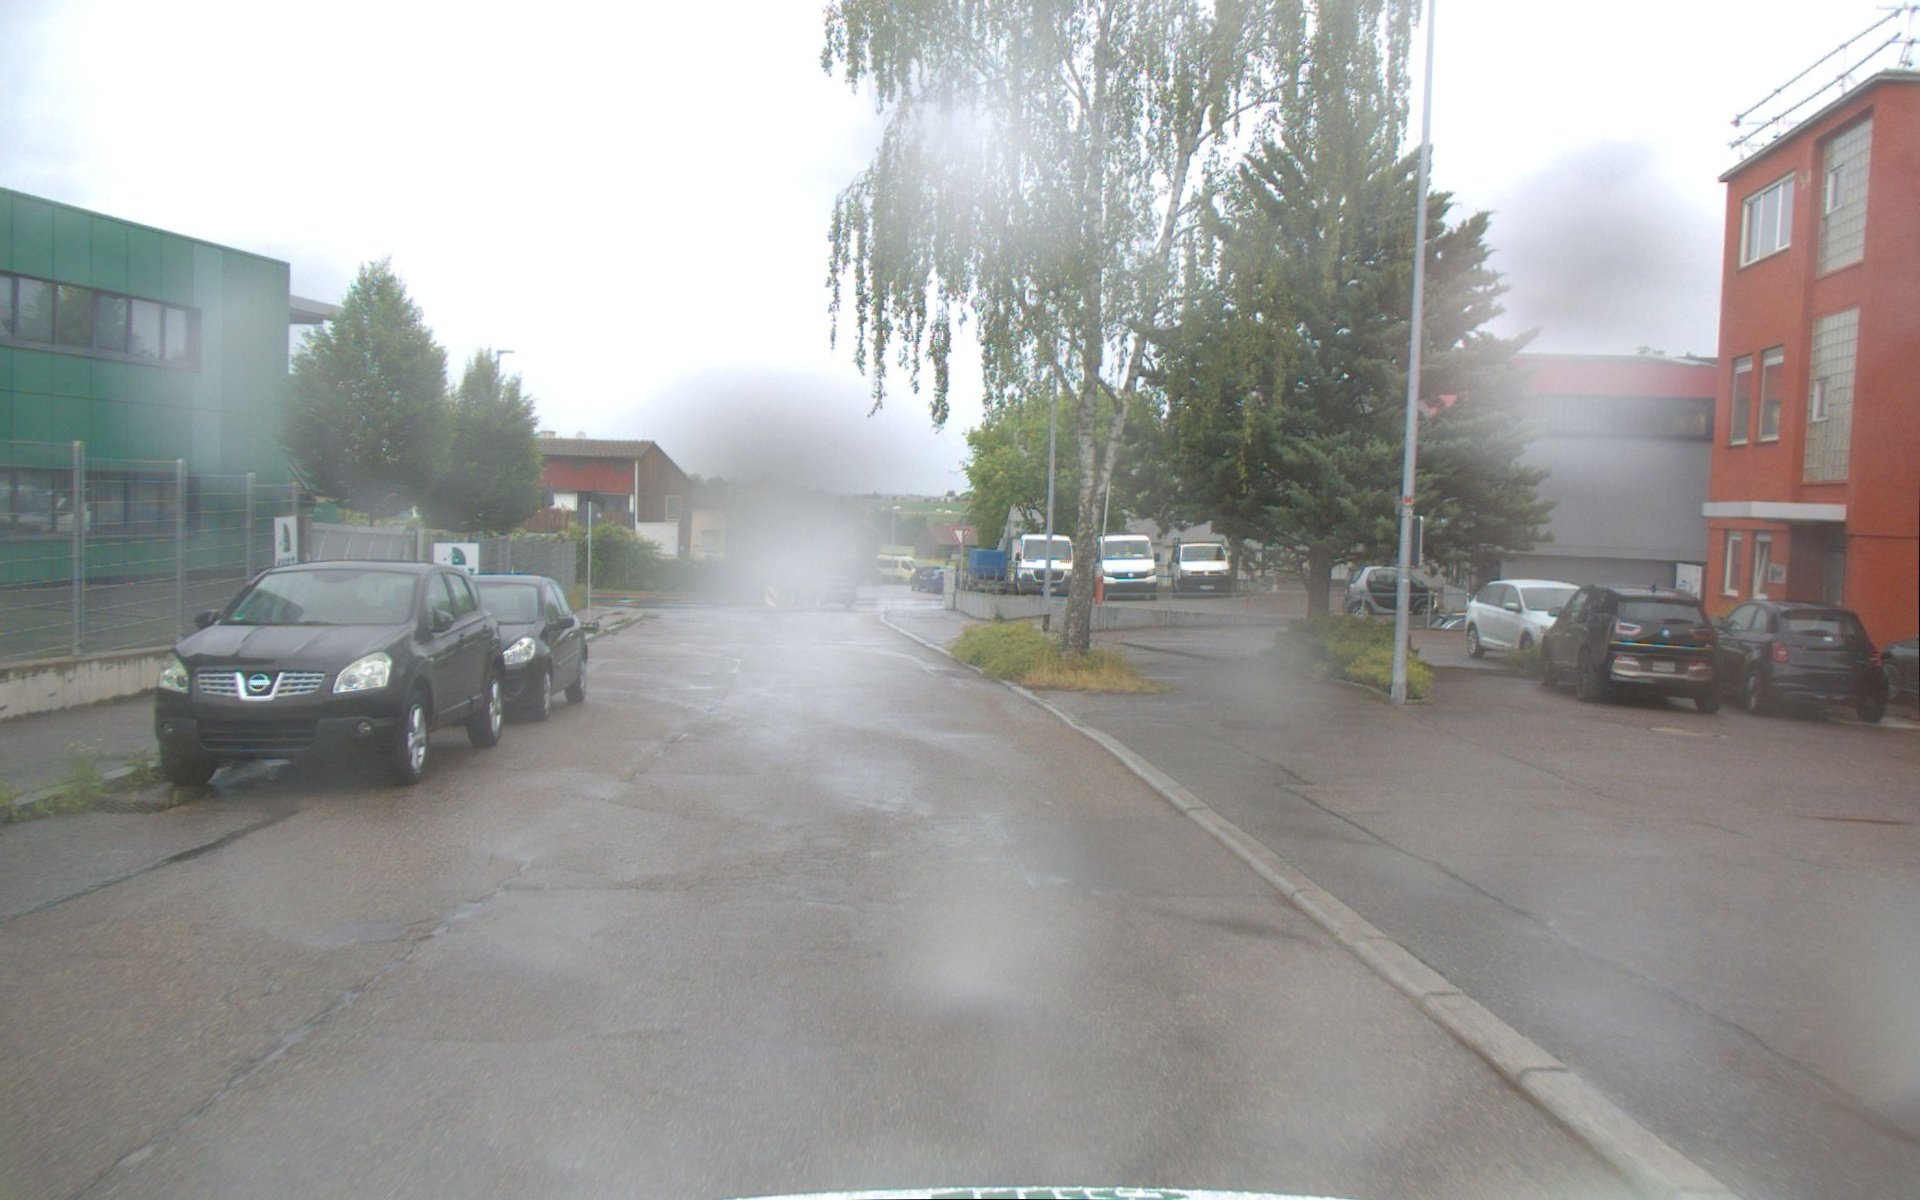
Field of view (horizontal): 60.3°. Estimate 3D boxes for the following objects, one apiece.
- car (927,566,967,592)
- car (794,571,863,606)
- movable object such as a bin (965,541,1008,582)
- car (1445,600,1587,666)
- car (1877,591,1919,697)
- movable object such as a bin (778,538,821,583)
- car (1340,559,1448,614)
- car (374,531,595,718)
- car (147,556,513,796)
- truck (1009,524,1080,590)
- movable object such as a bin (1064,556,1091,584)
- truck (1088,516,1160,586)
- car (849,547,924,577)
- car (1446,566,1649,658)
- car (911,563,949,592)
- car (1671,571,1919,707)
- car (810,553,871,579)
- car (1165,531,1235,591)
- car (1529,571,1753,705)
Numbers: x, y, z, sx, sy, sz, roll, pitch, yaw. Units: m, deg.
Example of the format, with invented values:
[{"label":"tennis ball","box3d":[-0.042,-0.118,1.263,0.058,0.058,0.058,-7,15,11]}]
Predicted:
[{"label":"car","box3d":[-0.849,-1.360,105.916,1.916,1.638,4.438,1,1,-9]},{"label":"car","box3d":[-6.140,-0.541,76.806,1.736,1.561,3.962,0,1,-29]},{"label":"movable object such as a bin","box3d":[0.971,-1.450,62.300,1.283,1.526,1.854,1,1,-10]},{"label":"car","box3d":[13.569,0.790,40.506,2.971,1.521,1.631,0,1,4]},{"label":"car","box3d":[14.429,0.698,22.504,1.928,1.474,4.516,3,1,9]},{"label":"movable object such as a bin","box3d":[-9.657,-2.372,99.819,1.696,2.601,3.343,1,1,10]},{"label":"car","box3d":[11.866,-0.389,45.334,2.654,1.471,1.679,0,1,6]},{"label":"car","box3d":[-5.125,0.206,18.301,1.706,1.828,3.953,1,1,-7]},{"label":"car","box3d":[-4.713,0.459,12.984,1.600,1.585,4.080,1,1,-5]},{"label":"truck","box3d":[2.991,-1.533,59.625,2.063,2.252,5.651,1,1,-2]},{"label":"movable object such as a bin","box3d":[4.588,-1.167,64.636,1.027,1.060,0.885,1,1,6]},{"label":"truck","box3d":[5.823,-1.726,59.199,2.196,2.382,4.838,1,1,1]},{"label":"car","box3d":[-6.280,-3.248,141.141,5.882,2.457,2.465,1,1,17]},{"label":"car","box3d":[10.408,0.152,29.665,1.866,1.496,4.326,0,1,-4]},{"label":"car","box3d":[-2.081,-1.541,112.005,2.035,1.867,4.463,1,1,-8]},{"label":"car","box3d":[11.770,0.460,23.614,1.947,1.707,4.516,1,1,10]},{"label":"car","box3d":[-8.907,-2.537,123.186,4.327,1.938,1.990,2,1,39]},{"label":"car","box3d":[8.661,-1.405,60.089,2.013,2.048,4.941,1,1,2]},{"label":"car","box3d":[9.481,0.442,23.413,1.953,1.606,4.516,3,1,10]}]
